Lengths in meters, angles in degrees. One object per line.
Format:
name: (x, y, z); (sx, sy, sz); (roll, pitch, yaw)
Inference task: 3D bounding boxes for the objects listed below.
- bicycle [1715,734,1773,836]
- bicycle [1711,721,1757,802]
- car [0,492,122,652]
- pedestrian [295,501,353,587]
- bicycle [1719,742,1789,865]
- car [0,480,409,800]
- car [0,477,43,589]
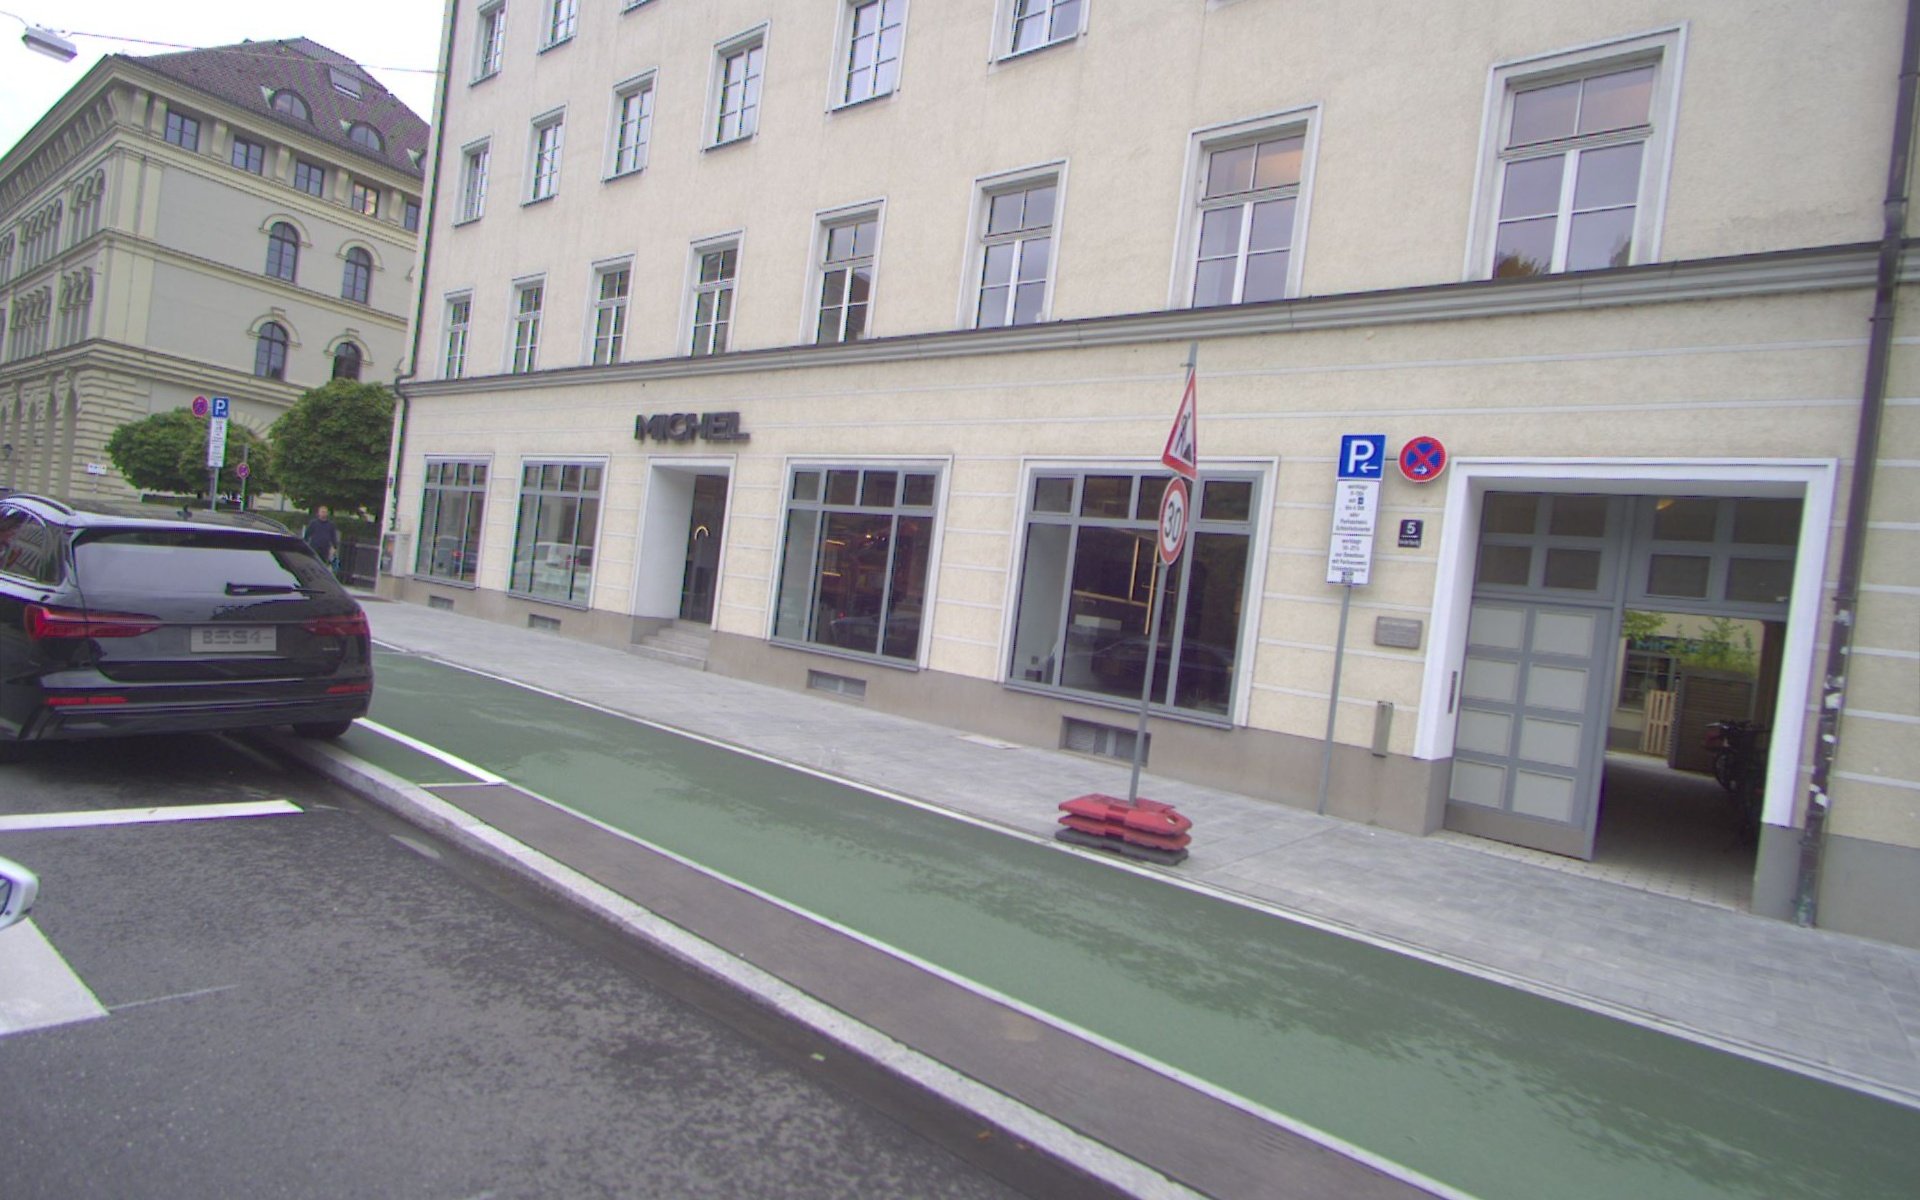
bicycle: (9.506, 2.211, 12.227); (0.301, 1.068, 1.623); (8, 0, 33)
bicycle: (11.650, 2.408, 15.171); (0.301, 1.068, 1.623); (8, 0, 33)
car: (-10.581, -0.484, 10.653); (4.360, 1.402, 1.680); (7, -1, 38)
pedestrian: (-14.837, -1.311, 23.473); (0.766, 1.859, 0.789); (8, 1, 39)
bicycle: (8.244, 2.076, 10.475); (0.301, 1.068, 1.623); (8, 0, 33)
car: (-5.782, 0.040, 6.813); (4.616, 1.498, 1.801); (7, 0, 38)
car: (-14.892, -1.149, 14.701); (3.373, 1.514, 1.609); (7, 0, 38)
